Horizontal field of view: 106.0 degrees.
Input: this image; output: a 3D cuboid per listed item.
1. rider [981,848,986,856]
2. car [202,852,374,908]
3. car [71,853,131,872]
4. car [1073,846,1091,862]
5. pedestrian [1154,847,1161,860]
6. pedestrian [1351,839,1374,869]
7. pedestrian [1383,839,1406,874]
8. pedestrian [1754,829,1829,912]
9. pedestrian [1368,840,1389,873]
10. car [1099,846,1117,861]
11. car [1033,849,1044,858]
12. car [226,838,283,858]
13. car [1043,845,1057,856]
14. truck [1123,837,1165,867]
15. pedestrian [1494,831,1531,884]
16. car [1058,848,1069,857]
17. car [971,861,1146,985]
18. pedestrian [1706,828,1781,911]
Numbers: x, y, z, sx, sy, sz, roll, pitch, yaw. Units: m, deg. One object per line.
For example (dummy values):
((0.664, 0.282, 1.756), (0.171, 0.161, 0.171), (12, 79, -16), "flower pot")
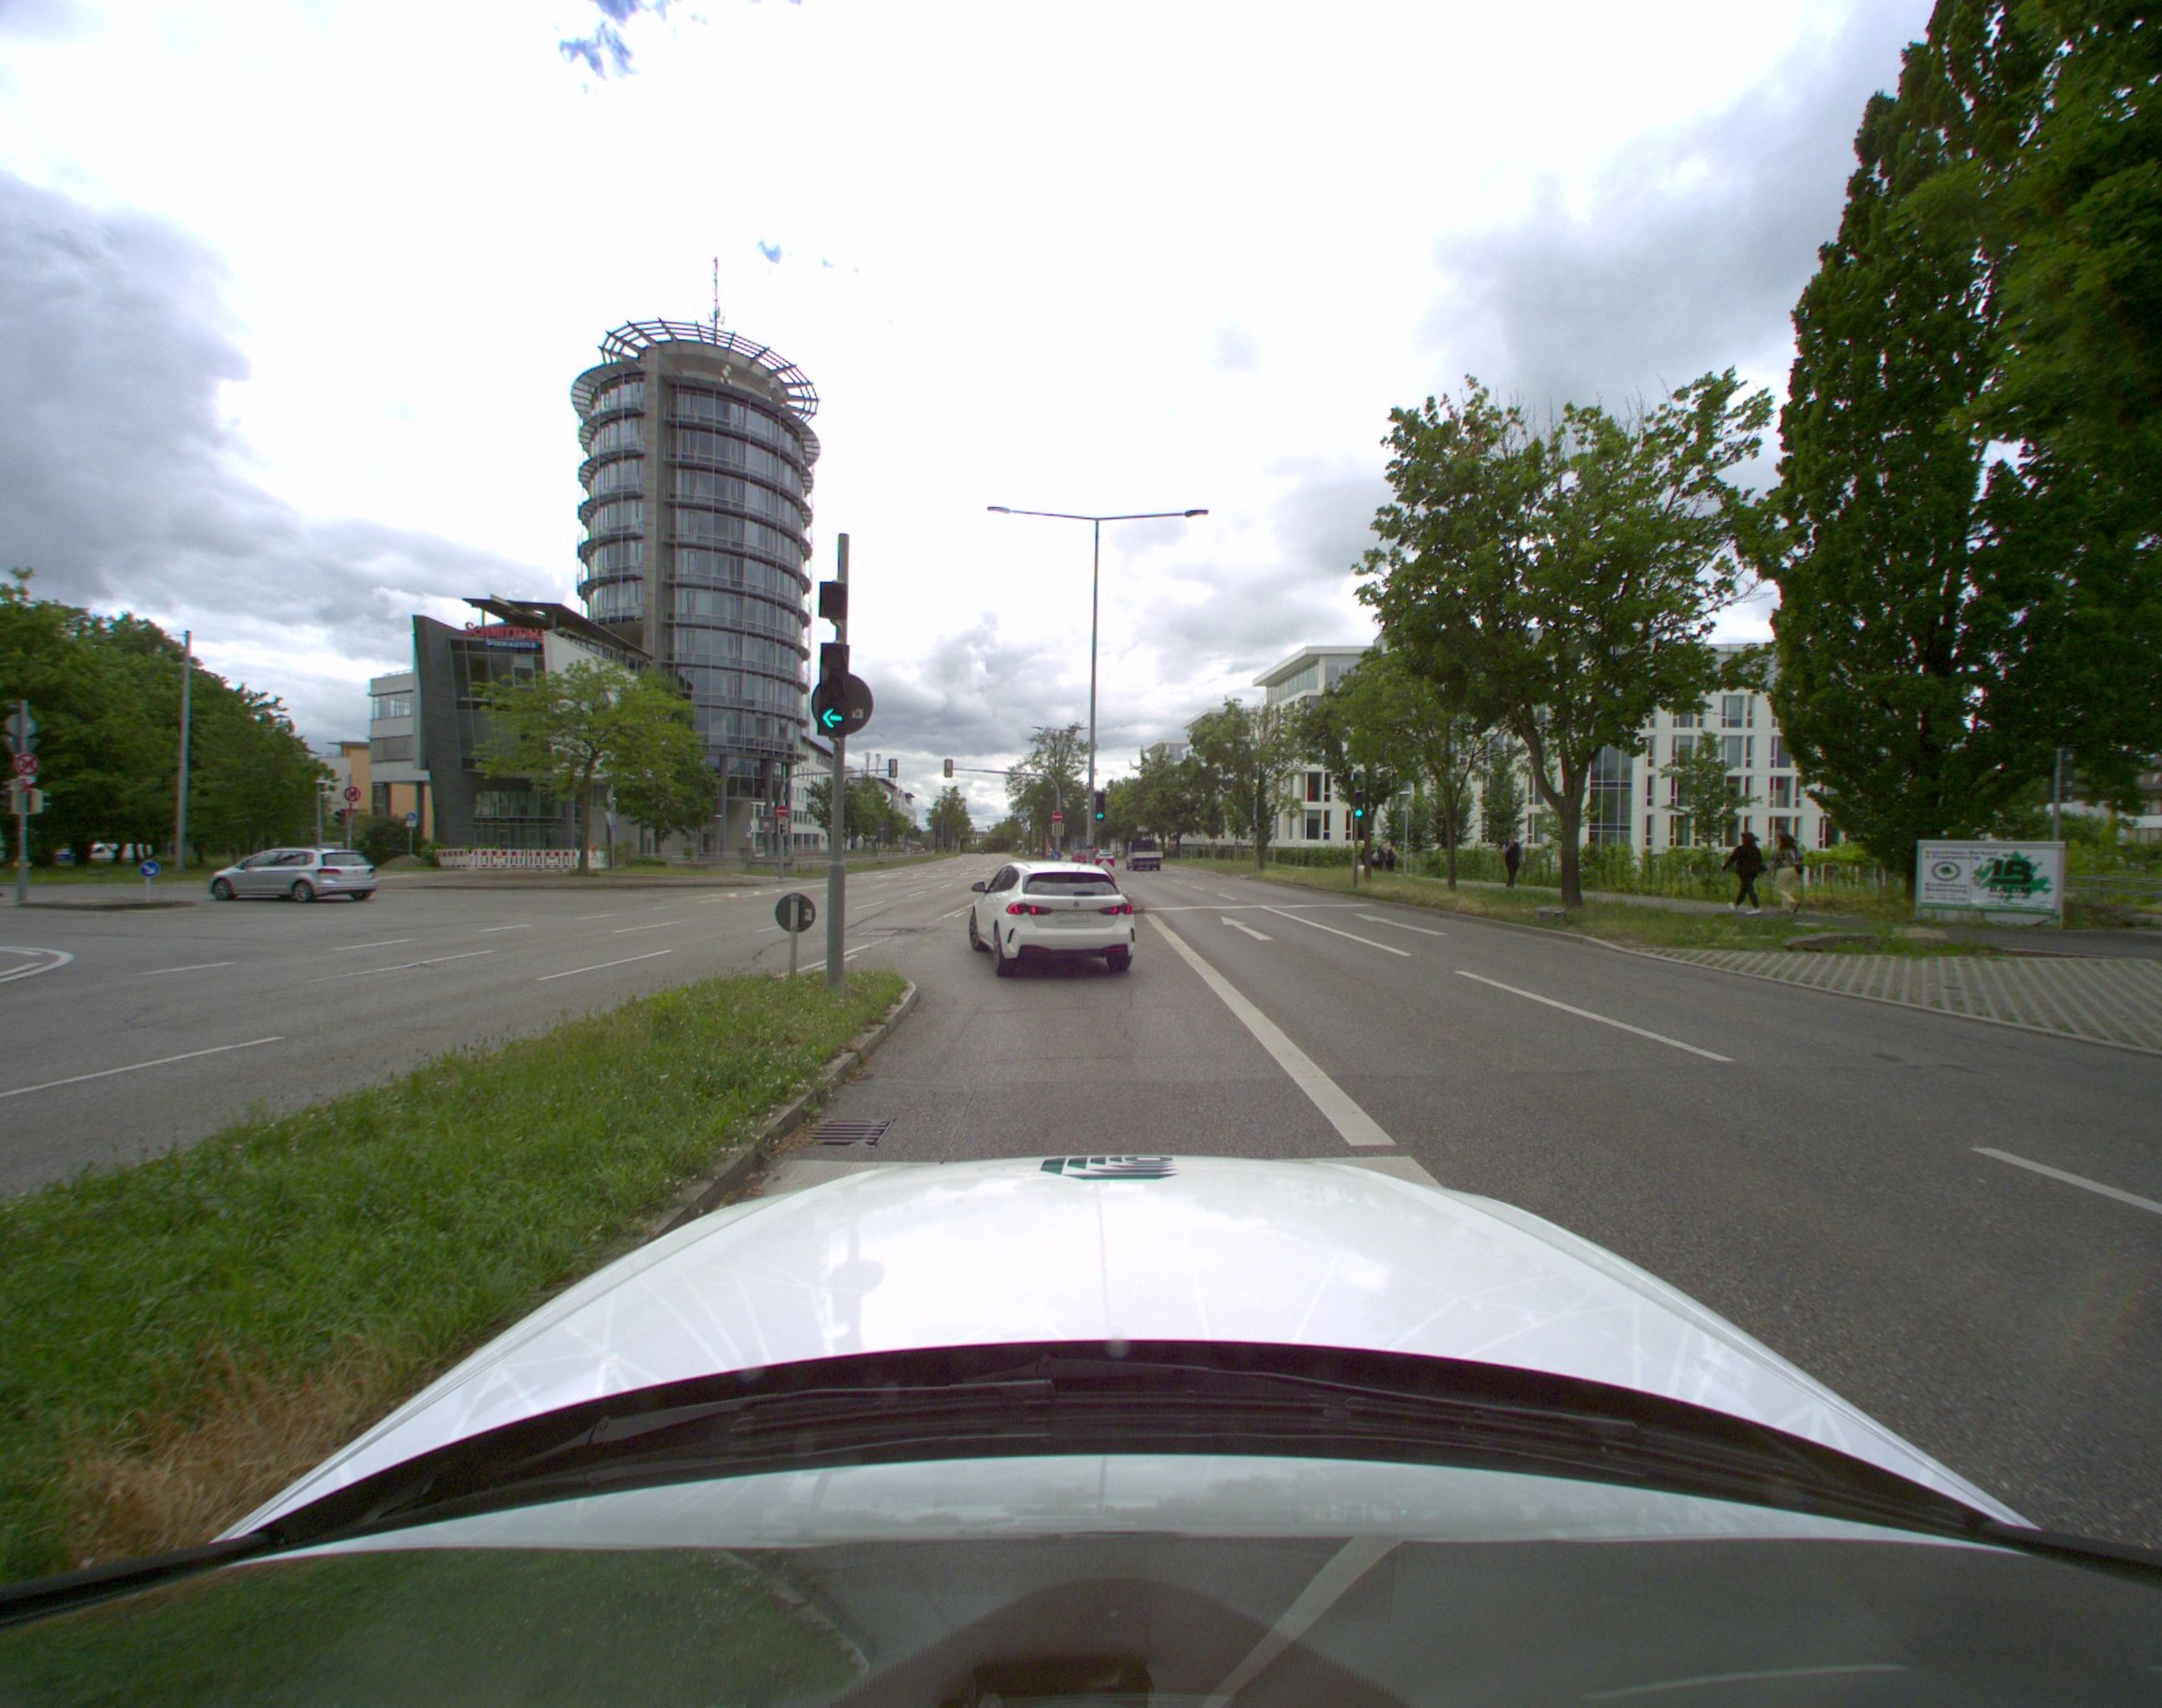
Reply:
((-21.603, -0.471, 180.215), (0.843, 1.771, 0.808), (0, -1, -1), "rider")
((-23.532, 0.743, 24.213), (3.964, 1.569, 1.558), (0, 0, 8), "car")
((-127.727, 1.088, 106.169), (1.978, 2.339, 4.571), (0, 0, 17), "car")
((0.045, 0.036, 82.845), (1.711, 1.558, 3.855), (-1, 0, -2), "car")
((11.949, -0.111, 126.922), (0.849, 2.013, 0.603), (0, 0, -13), "pedestrian")
((13.679, 0.011, 39.608), (0.786, 1.448, 1.112), (0, -1, 2), "pedestrian")
((15.228, 0.113, 39.547), (0.764, 1.685, 0.884), (0, -1, 1), "pedestrian")
((14.590, 0.326, 16.746), (0.774, 1.660, 0.954), (0, 0, 8), "pedestrian")
((14.459, 0.115, 39.597), (0.697, 1.595, 0.884), (0, -1, 2), "pedestrian")
((2.859, -0.044, 86.219), (1.711, 1.555, 4.087), (0, 0, -1), "car")
((-8.469, -0.117, 162.334), (1.889, 1.596, 4.304), (0, 0, -6), "car")
((-36.988, -0.257, 36.451), (0.766, 0.876, 1.730), (0, 0, 39), "car")
((-4.846, -0.544, 126.947), (1.852, 1.596, 4.305), (-1, 0, -6), "car")
((4.672, -0.156, 61.482), (2.208, 2.203, 5.833), (0, 0, -5), "truck")
((12.943, 0.100, 24.437), (0.738, 1.574, 0.674), (0, -1, 1), "pedestrian")
((-3.350, -0.275, 154.255), (1.852, 1.596, 4.306), (-1, 0, -5), "car")
((-0.518, 0.850, 11.965), (1.824, 1.438, 3.982), (0, 0, -13), "car")
((13.736, 0.304, 16.921), (0.791, 1.660, 1.062), (0, 0, 8), "pedestrian")
